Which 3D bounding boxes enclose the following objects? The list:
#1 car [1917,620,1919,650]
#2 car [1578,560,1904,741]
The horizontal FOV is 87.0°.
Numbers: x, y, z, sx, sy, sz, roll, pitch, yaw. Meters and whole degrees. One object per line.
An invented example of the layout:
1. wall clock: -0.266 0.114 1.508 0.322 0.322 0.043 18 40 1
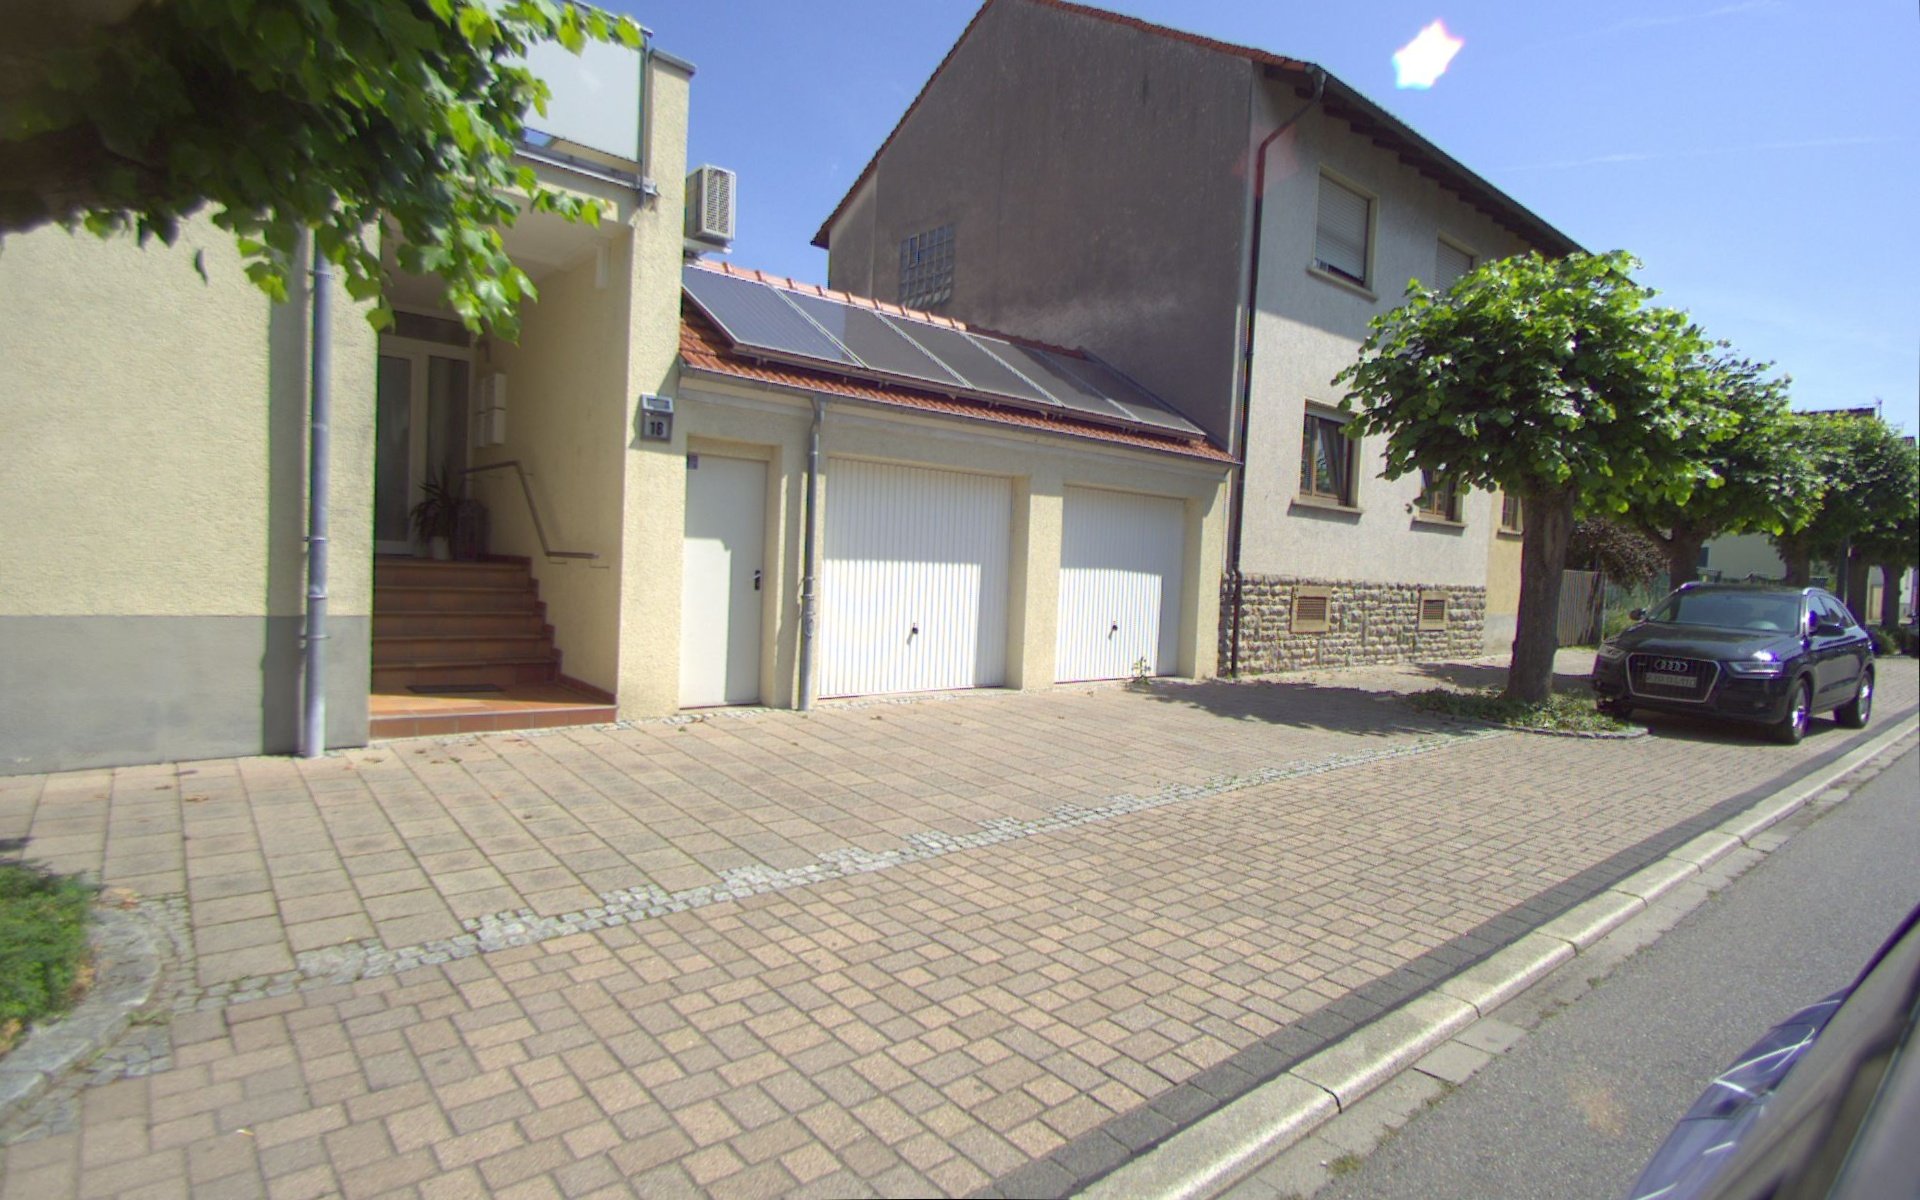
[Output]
1. car: 25.037 0.560 24.815 3.986 1.449 1.829 0 5 -41
2. car: 8.859 0.471 11.384 3.981 1.605 1.831 1 4 -37
